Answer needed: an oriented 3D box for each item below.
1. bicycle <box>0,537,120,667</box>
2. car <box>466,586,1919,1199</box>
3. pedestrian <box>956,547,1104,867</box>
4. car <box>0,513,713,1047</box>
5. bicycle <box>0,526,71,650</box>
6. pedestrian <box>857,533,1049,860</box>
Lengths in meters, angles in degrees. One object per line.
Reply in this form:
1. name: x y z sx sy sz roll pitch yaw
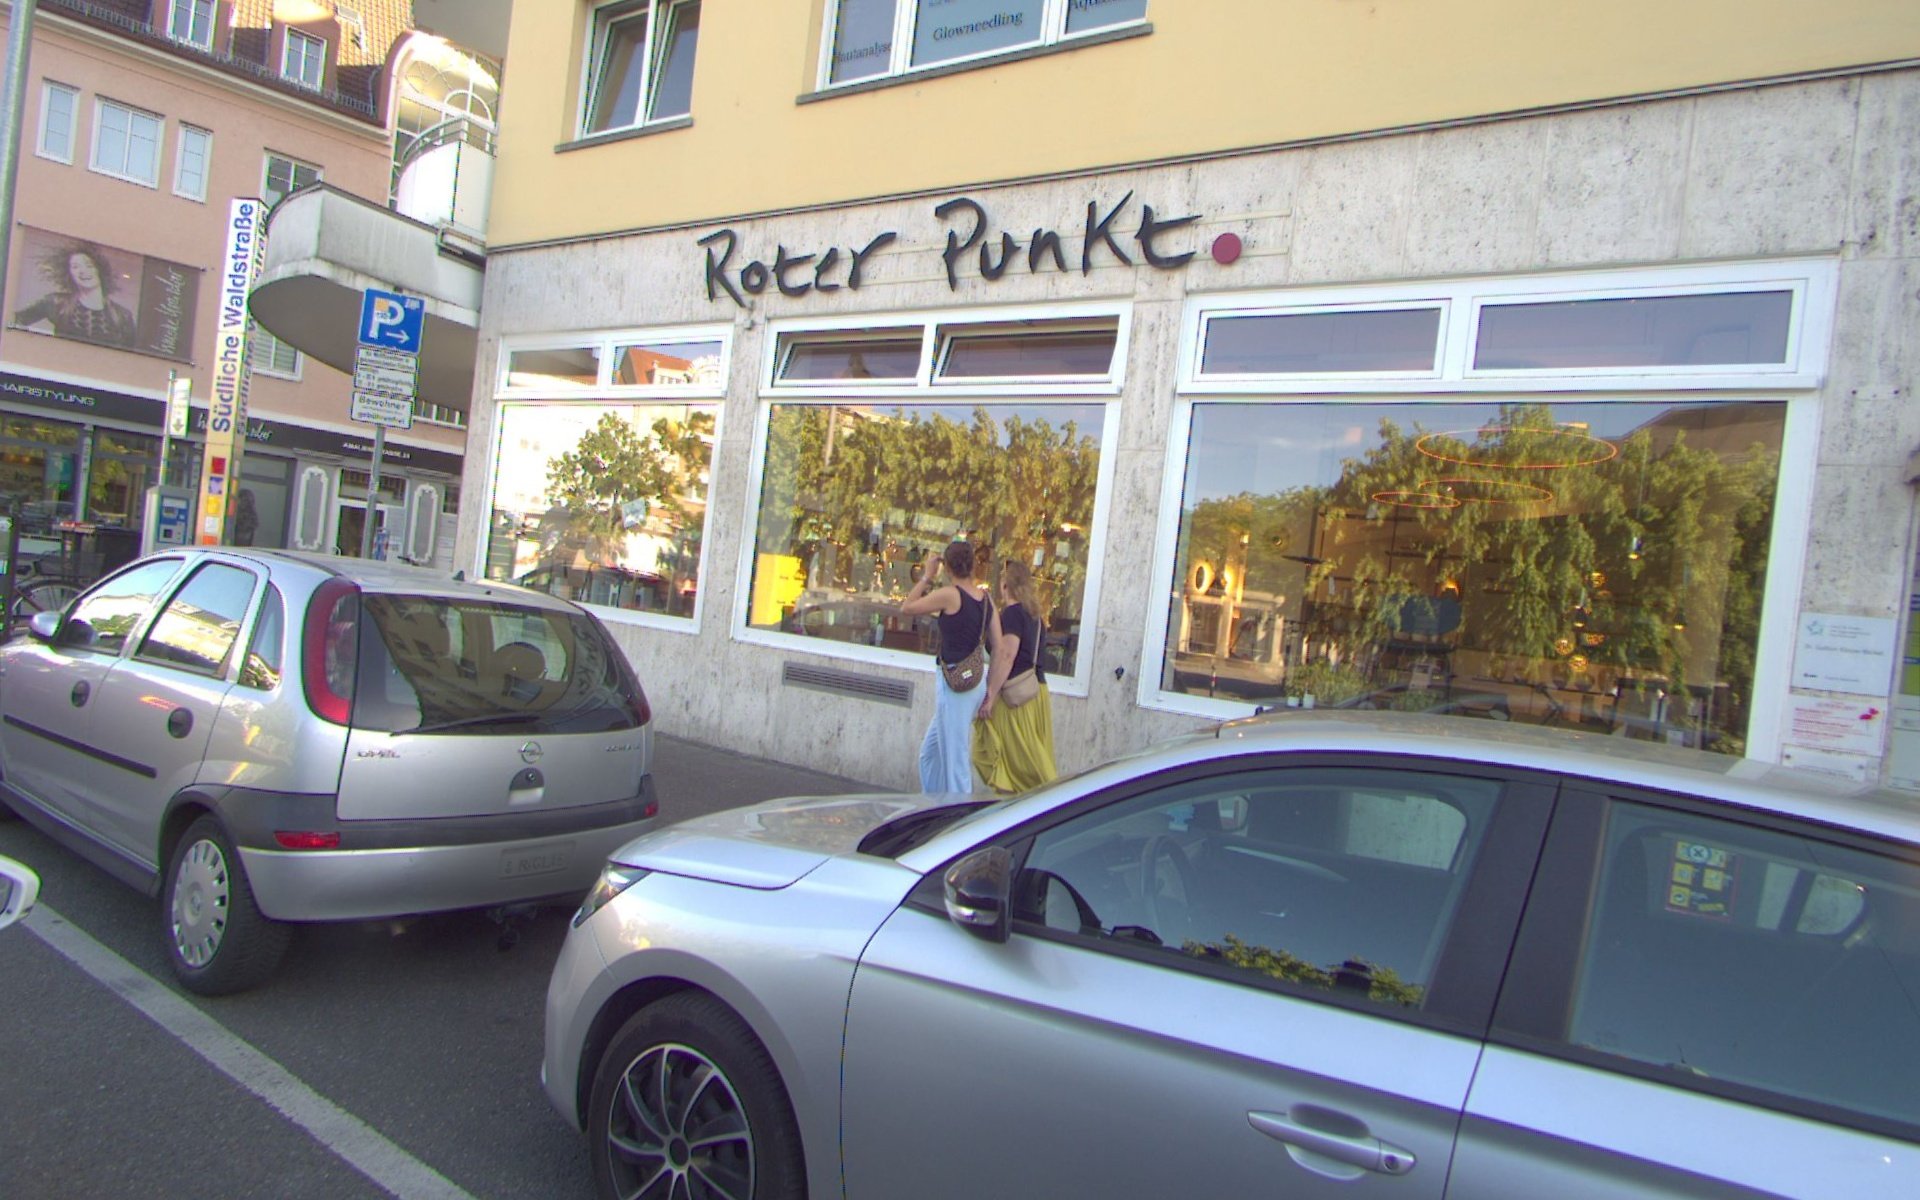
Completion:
1. bicycle: -8.119 -0.002 8.207 0.348 1.051 1.871 6 1 38
2. car: 0.766 0.921 2.286 3.598 1.444 1.550 6 -2 30
3. pedestrian: 0.457 0.635 6.253 0.557 1.805 0.743 7 0 17
4. car: -2.942 0.488 4.441 3.420 1.407 1.548 6 -1 33
5. bicycle: -9.108 -0.151 8.821 0.408 1.101 1.872 6 1 35
6. pedestrian: -0.052 0.522 5.583 0.652 1.685 0.643 7 0 -29
